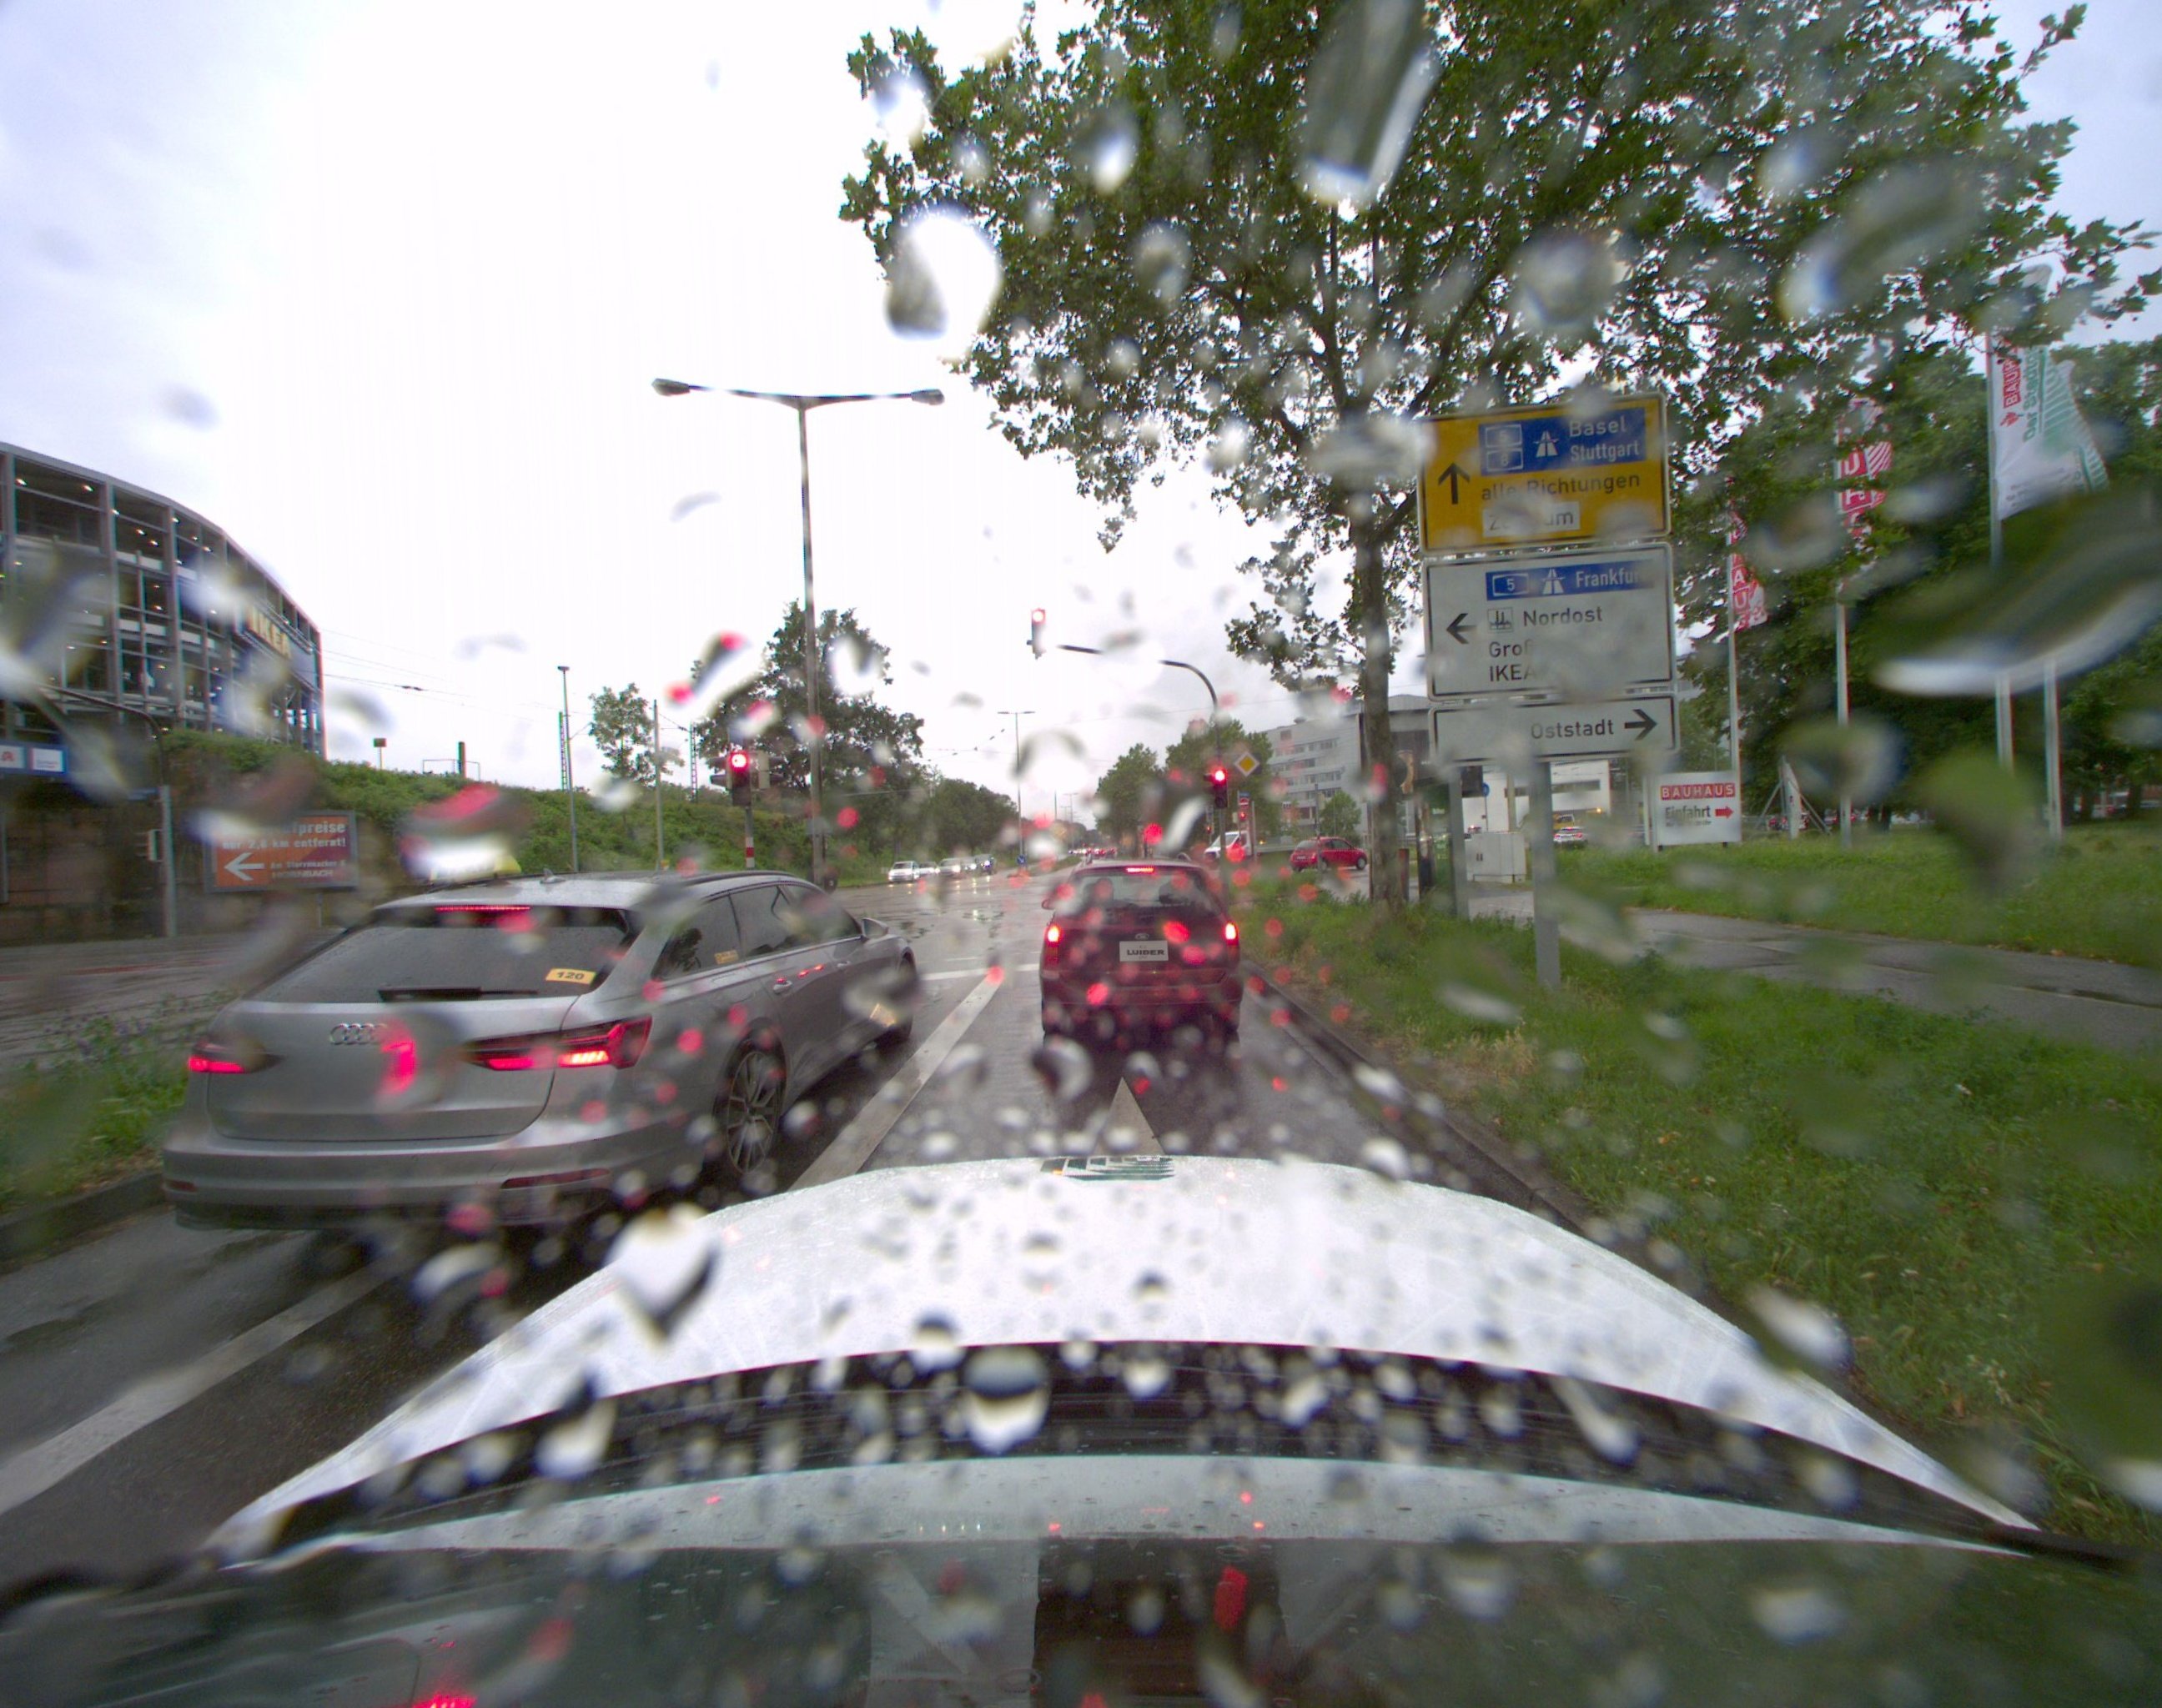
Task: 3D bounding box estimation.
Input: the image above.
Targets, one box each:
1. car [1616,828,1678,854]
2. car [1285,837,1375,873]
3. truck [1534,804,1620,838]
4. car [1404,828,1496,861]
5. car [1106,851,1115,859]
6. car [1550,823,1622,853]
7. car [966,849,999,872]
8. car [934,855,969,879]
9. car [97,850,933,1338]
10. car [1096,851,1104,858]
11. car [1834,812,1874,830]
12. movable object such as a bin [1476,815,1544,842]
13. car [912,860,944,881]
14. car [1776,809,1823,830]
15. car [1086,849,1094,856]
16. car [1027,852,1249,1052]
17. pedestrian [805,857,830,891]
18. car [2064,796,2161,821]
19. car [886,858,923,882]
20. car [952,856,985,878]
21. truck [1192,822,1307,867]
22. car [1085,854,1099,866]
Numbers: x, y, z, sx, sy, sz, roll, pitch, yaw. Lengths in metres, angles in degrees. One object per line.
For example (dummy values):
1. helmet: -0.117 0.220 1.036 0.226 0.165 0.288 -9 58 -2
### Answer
1. car: 37.799 -0.863 54.357 4.645 1.586 1.906 -2 -1 -35
2. car: 11.032 0.032 36.065 3.829 1.491 1.662 -2 0 -31
3. truck: 57.972 -3.830 95.384 3.342 3.507 7.806 -3 0 -33
4. car: 19.009 -0.515 41.857 4.847 1.491 1.908 -2 0 -32
5. car: 5.866 0.134 162.618 1.664 1.528 3.849 -3 0 3
6. car: 30.571 -0.983 49.275 4.644 1.586 1.907 -2 -1 -34
7. car: -8.634 0.522 71.688 2.058 1.819 5.542 -3 0 1
8. car: -8.944 0.880 56.526 1.632 1.473 3.966 -3 0 1
9. car: -2.282 0.771 5.067 1.763 1.574 4.822 0 0 1
10. car: 4.644 0.118 194.159 1.691 1.528 3.849 -3 0 3
11. car: 76.442 -3.241 80.494 4.645 1.586 1.907 -2 -1 -34
12. movable object such as a bin: 53.774 -3.179 102.166 3.342 2.995 6.650 -3 0 -34
13. car: -11.572 1.230 61.873 1.585 1.404 3.823 -3 0 1
14. car: 61.105 -2.935 69.247 4.645 1.586 1.907 -2 -1 -34
15. car: 2.229 -0.339 202.695 1.691 1.528 3.849 -3 0 3
16. car: 0.452 0.723 7.907 1.636 1.465 3.733 0 0 1
17. pedestrian: -14.948 1.115 46.205 1.102 1.847 1.126 -3 0 -10
18. car: 88.540 -3.910 69.312 2.286 1.731 5.899 -3 0 -33
19. car: -11.974 1.071 55.552 1.633 1.452 3.786 -3 0 0
20. car: -8.731 1.000 63.608 1.756 1.586 4.813 -3 -1 0
21. truck: 10.211 -0.585 49.109 6.890 2.365 2.458 -3 0 -31
22. car: 1.623 0.908 120.726 1.988 1.790 3.998 0 -1 -1
